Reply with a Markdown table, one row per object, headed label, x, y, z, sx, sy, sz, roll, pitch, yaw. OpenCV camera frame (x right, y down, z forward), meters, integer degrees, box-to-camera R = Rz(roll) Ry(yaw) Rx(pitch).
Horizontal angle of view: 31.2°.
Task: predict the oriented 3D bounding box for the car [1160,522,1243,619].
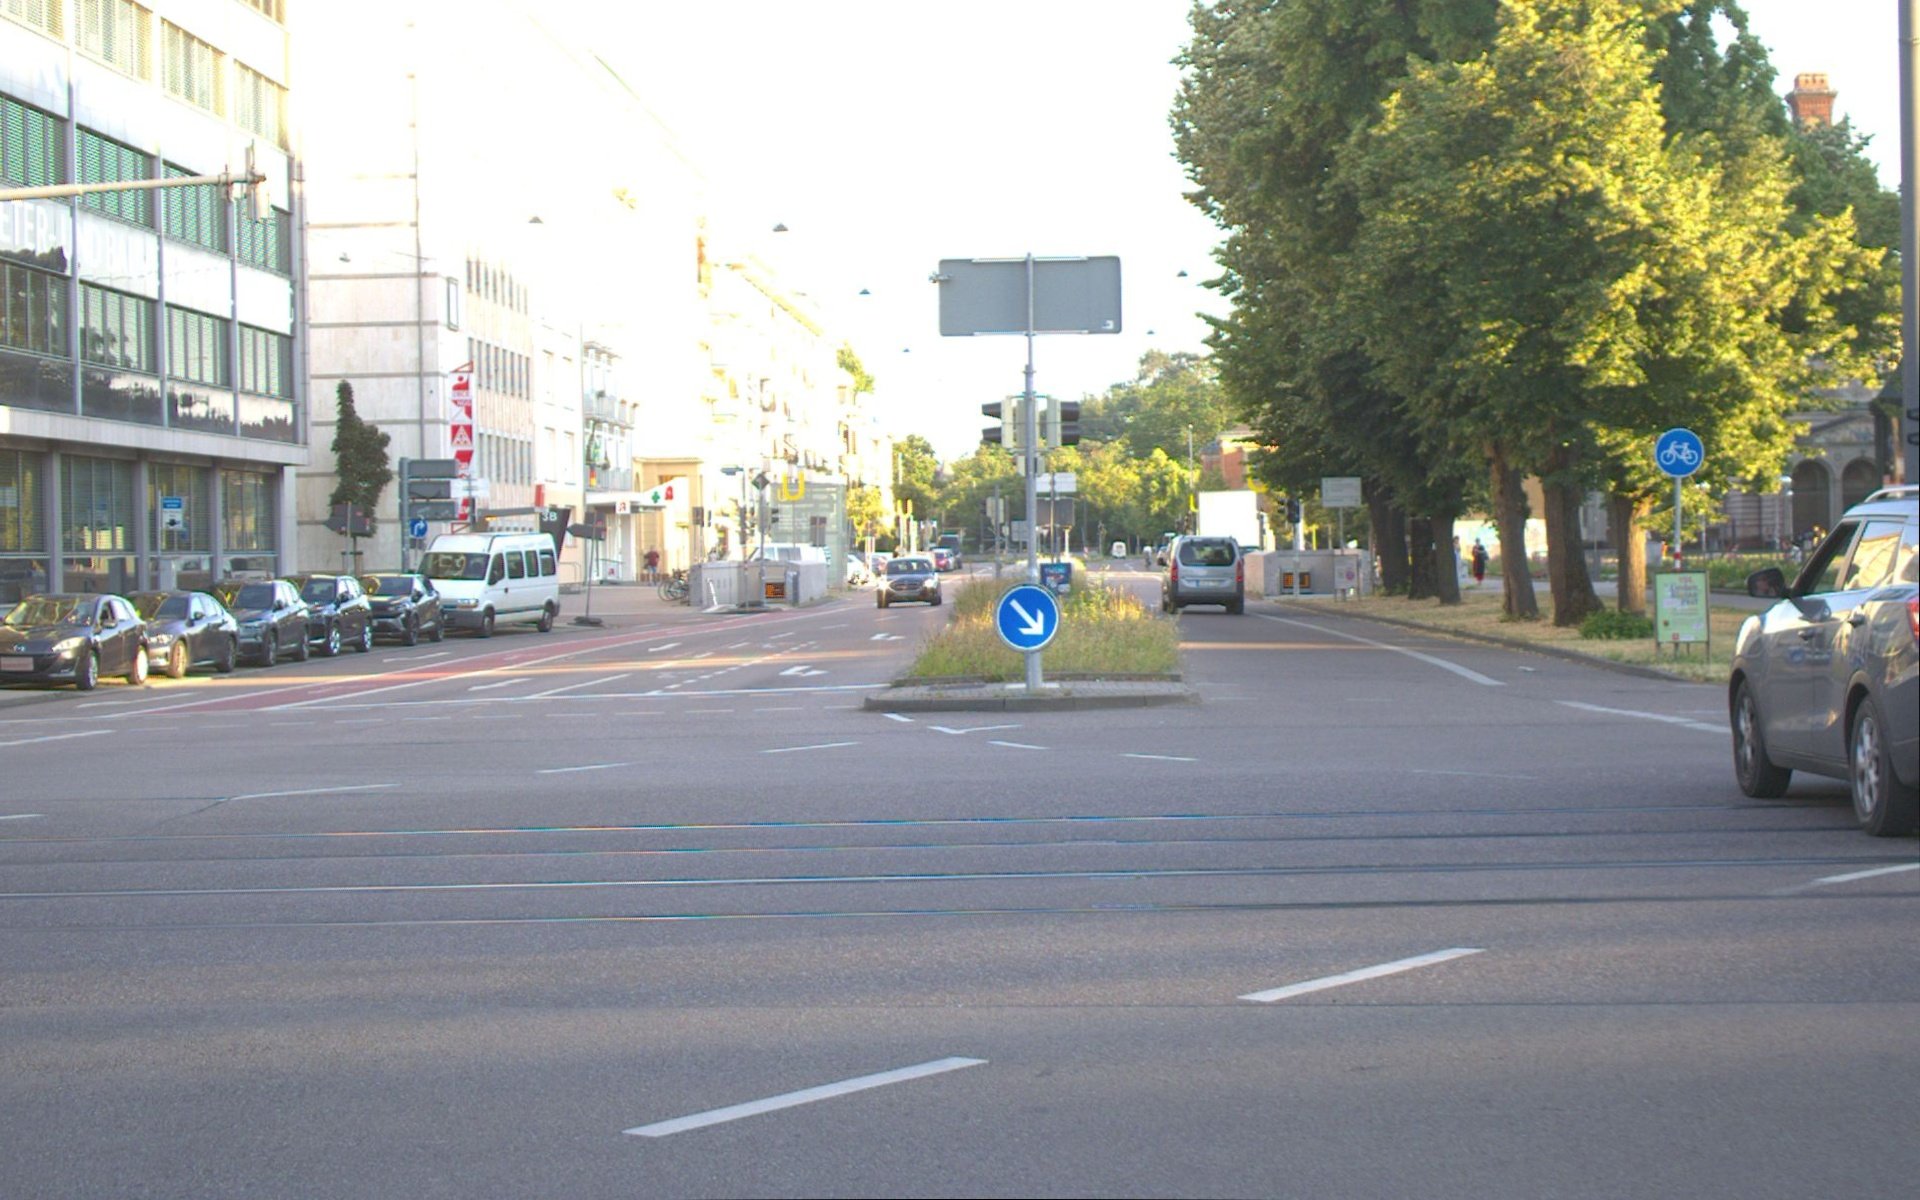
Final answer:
| label | x | y | z | sx | sy | sz | roll | pitch | yaw |
| --- | --- | --- | --- | --- | --- | --- | --- | --- | --- |
| car | 5.739 | -0.719 | 81.945 | 1.884 | 2.230 | 3.910 | -1 | 1 | 4 |

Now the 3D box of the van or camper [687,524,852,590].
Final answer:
| label | x | y | z | sx | sy | sz | roll | pitch | yaw |
| --- | --- | --- | --- | --- | --- | --- | --- | --- | --- |
| van or camper | -6.964 | -1.575 | 125.665 | 5.508 | 2.159 | 2.245 | -3 | 1 | -28 |

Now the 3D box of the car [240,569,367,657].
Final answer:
| label | x | y | z | sx | sy | sz | roll | pitch | yaw |
| --- | --- | --- | --- | --- | --- | --- | --- | --- | --- |
| car | -13.387 | 0.251 | 70.269 | 1.693 | 1.659 | 3.868 | 2 | 1 | 2 |

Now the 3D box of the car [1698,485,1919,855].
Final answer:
| label | x | y | z | sx | sy | sz | roll | pitch | yaw |
| --- | --- | --- | --- | --- | --- | --- | --- | --- | --- |
| car | 4.912 | 0.256 | 16.924 | 1.693 | 1.600 | 4.090 | -1 | 1 | 1 |

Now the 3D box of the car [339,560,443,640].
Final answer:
| label | x | y | z | sx | sy | sz | roll | pitch | yaw |
| --- | --- | --- | --- | --- | --- | --- | --- | --- | --- |
| car | -12.626 | -0.021 | 76.392 | 1.499 | 1.659 | 3.868 | 2 | 1 | 2 |

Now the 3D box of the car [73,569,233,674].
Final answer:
| label | x | y | z | sx | sy | sz | roll | pitch | yaw |
| --- | --- | --- | --- | --- | --- | --- | --- | --- | --- |
| car | -13.918 | 0.338 | 59.449 | 1.693 | 1.659 | 3.868 | 2 | 1 | 2 |

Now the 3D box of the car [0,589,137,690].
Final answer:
| label | x | y | z | sx | sy | sz | roll | pitch | yaw |
| --- | --- | --- | --- | --- | --- | --- | --- | --- | --- |
| car | -14.227 | 0.586 | 53.610 | 1.693 | 1.406 | 3.868 | 2 | 1 | 2 |

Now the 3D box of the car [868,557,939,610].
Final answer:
| label | x | y | z | sx | sy | sz | roll | pitch | yaw |
| --- | --- | --- | --- | --- | --- | --- | --- | --- | --- |
| car | -1.607 | -0.489 | 99.266 | 1.693 | 1.416 | 4.173 | -1 | 1 | 4 |

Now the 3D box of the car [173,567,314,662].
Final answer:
| label | x | y | z | sx | sy | sz | roll | pitch | yaw |
| --- | --- | --- | --- | --- | --- | --- | --- | --- | --- |
| car | -13.507 | 0.247 | 64.963 | 1.693 | 1.659 | 3.868 | 2 | 1 | 2 |

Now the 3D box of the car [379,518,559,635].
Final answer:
| label | x | y | z | sx | sy | sz | roll | pitch | yaw |
| --- | --- | --- | --- | --- | --- | --- | --- | --- | --- |
| car | -11.749 | -0.556 | 82.724 | 2.238 | 2.620 | 5.850 | 3 | 1 | 13 |
